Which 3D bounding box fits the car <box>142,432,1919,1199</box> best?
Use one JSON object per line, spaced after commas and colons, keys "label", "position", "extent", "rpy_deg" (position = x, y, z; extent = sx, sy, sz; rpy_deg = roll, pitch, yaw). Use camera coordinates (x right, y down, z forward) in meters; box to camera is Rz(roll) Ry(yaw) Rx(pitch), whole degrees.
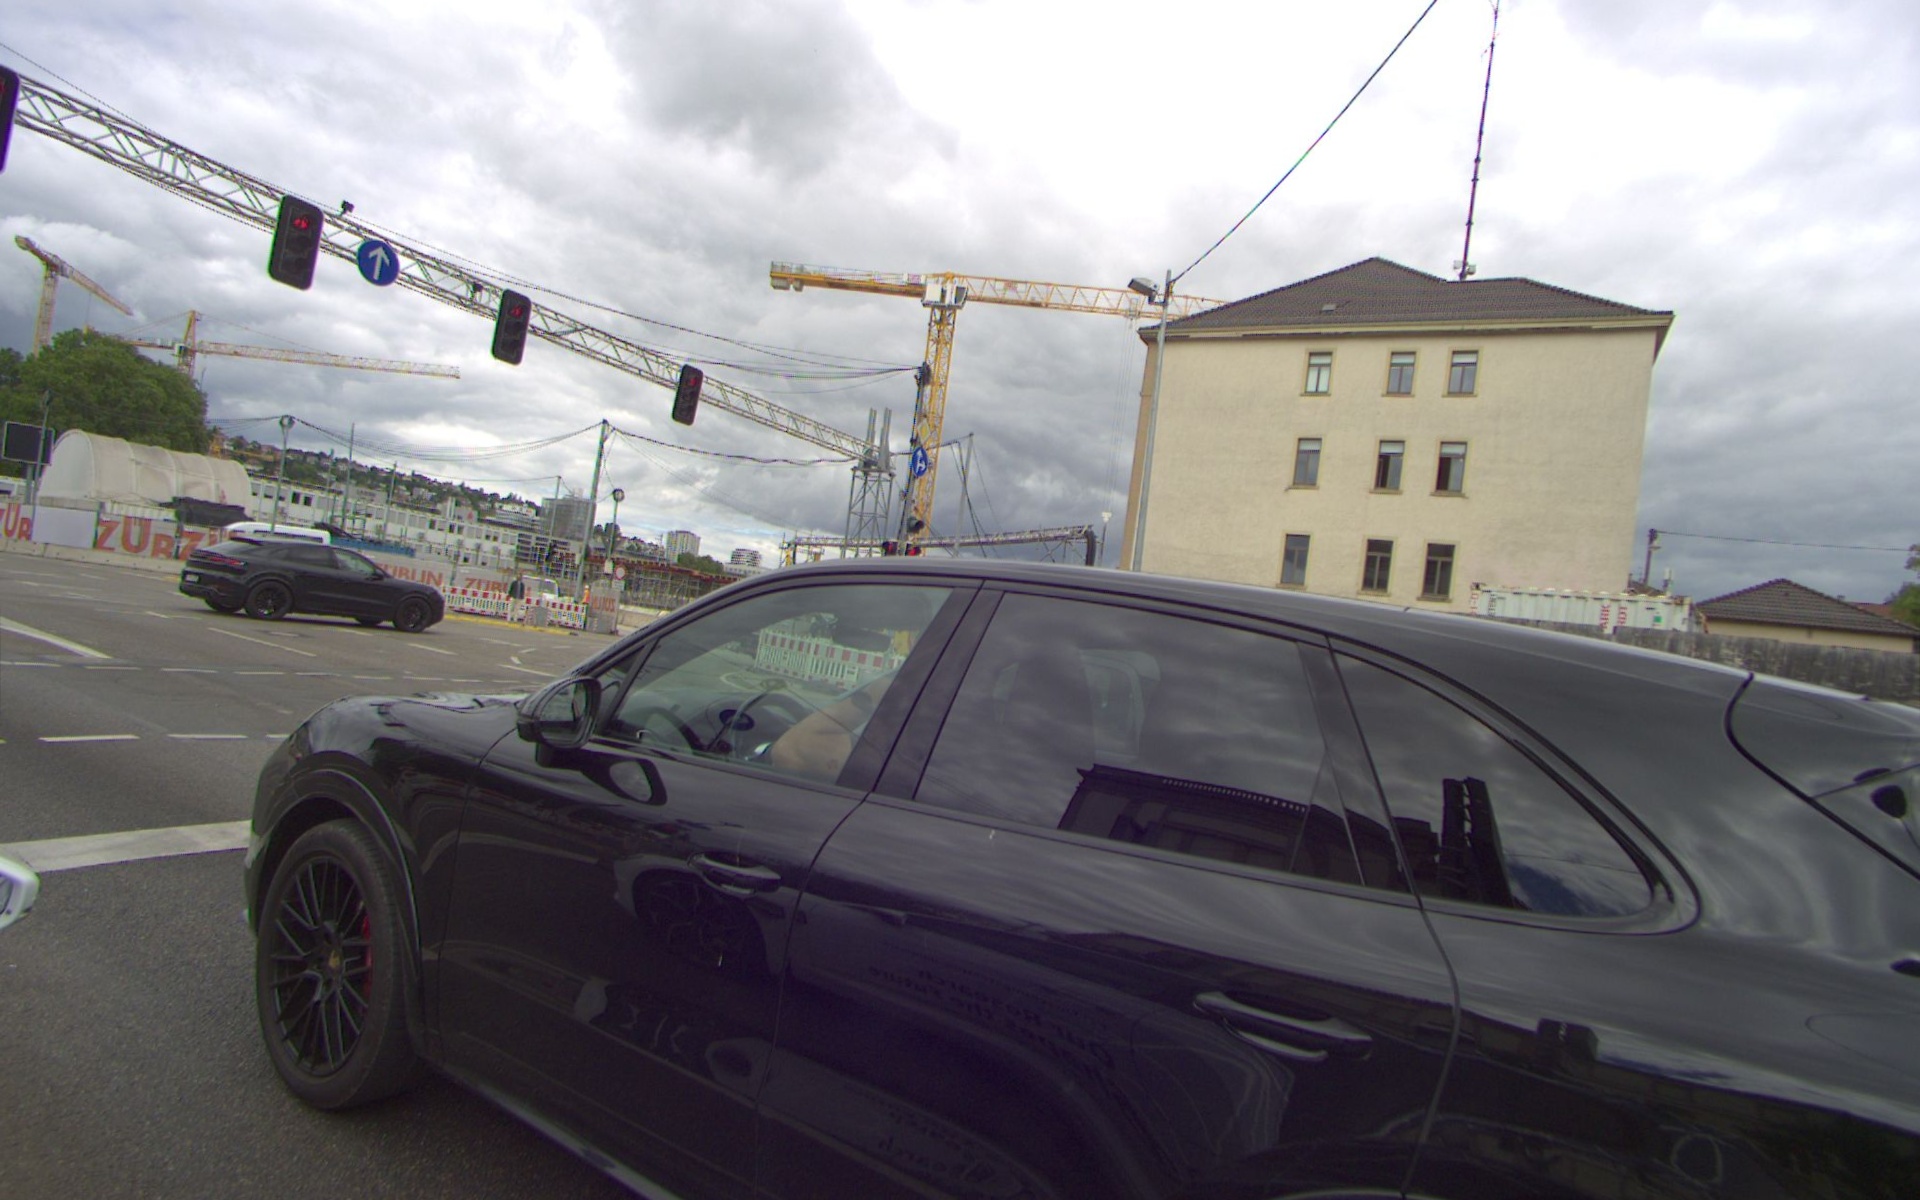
{"label": "car", "position": [-0.034, 0.642, 2.665], "extent": [4.410, 1.735, 1.828], "rpy_deg": [6, -2, 32]}

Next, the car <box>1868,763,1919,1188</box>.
{"label": "car", "position": [5.775, 1.684, 2.568], "extent": [4.729, 1.644, 1.828], "rpy_deg": [6, -2, 32]}

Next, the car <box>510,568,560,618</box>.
{"label": "car", "position": [-19.157, -0.328, 45.294], "extent": [1.757, 1.976, 3.108], "rpy_deg": [8, -2, -25]}

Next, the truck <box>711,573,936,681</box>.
{"label": "truck", "position": [-4.539, 1.131, 36.088], "extent": [2.583, 2.835, 9.000], "rpy_deg": [7, -2, 32]}

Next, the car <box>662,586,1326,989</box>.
{"label": "car", "position": [0.123, 0.983, 6.661], "extent": [3.934, 1.644, 1.679], "rpy_deg": [6, -2, 32]}

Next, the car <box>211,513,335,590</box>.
{"label": "car", "position": [-29.567, -2.045, 43.365], "extent": [1.660, 2.692, 3.979], "rpy_deg": [6, -2, 45]}

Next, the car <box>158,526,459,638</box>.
{"label": "car", "position": [-13.458, -0.300, 21.126], "extent": [1.988, 1.643, 4.816], "rpy_deg": [6, -2, 33]}
